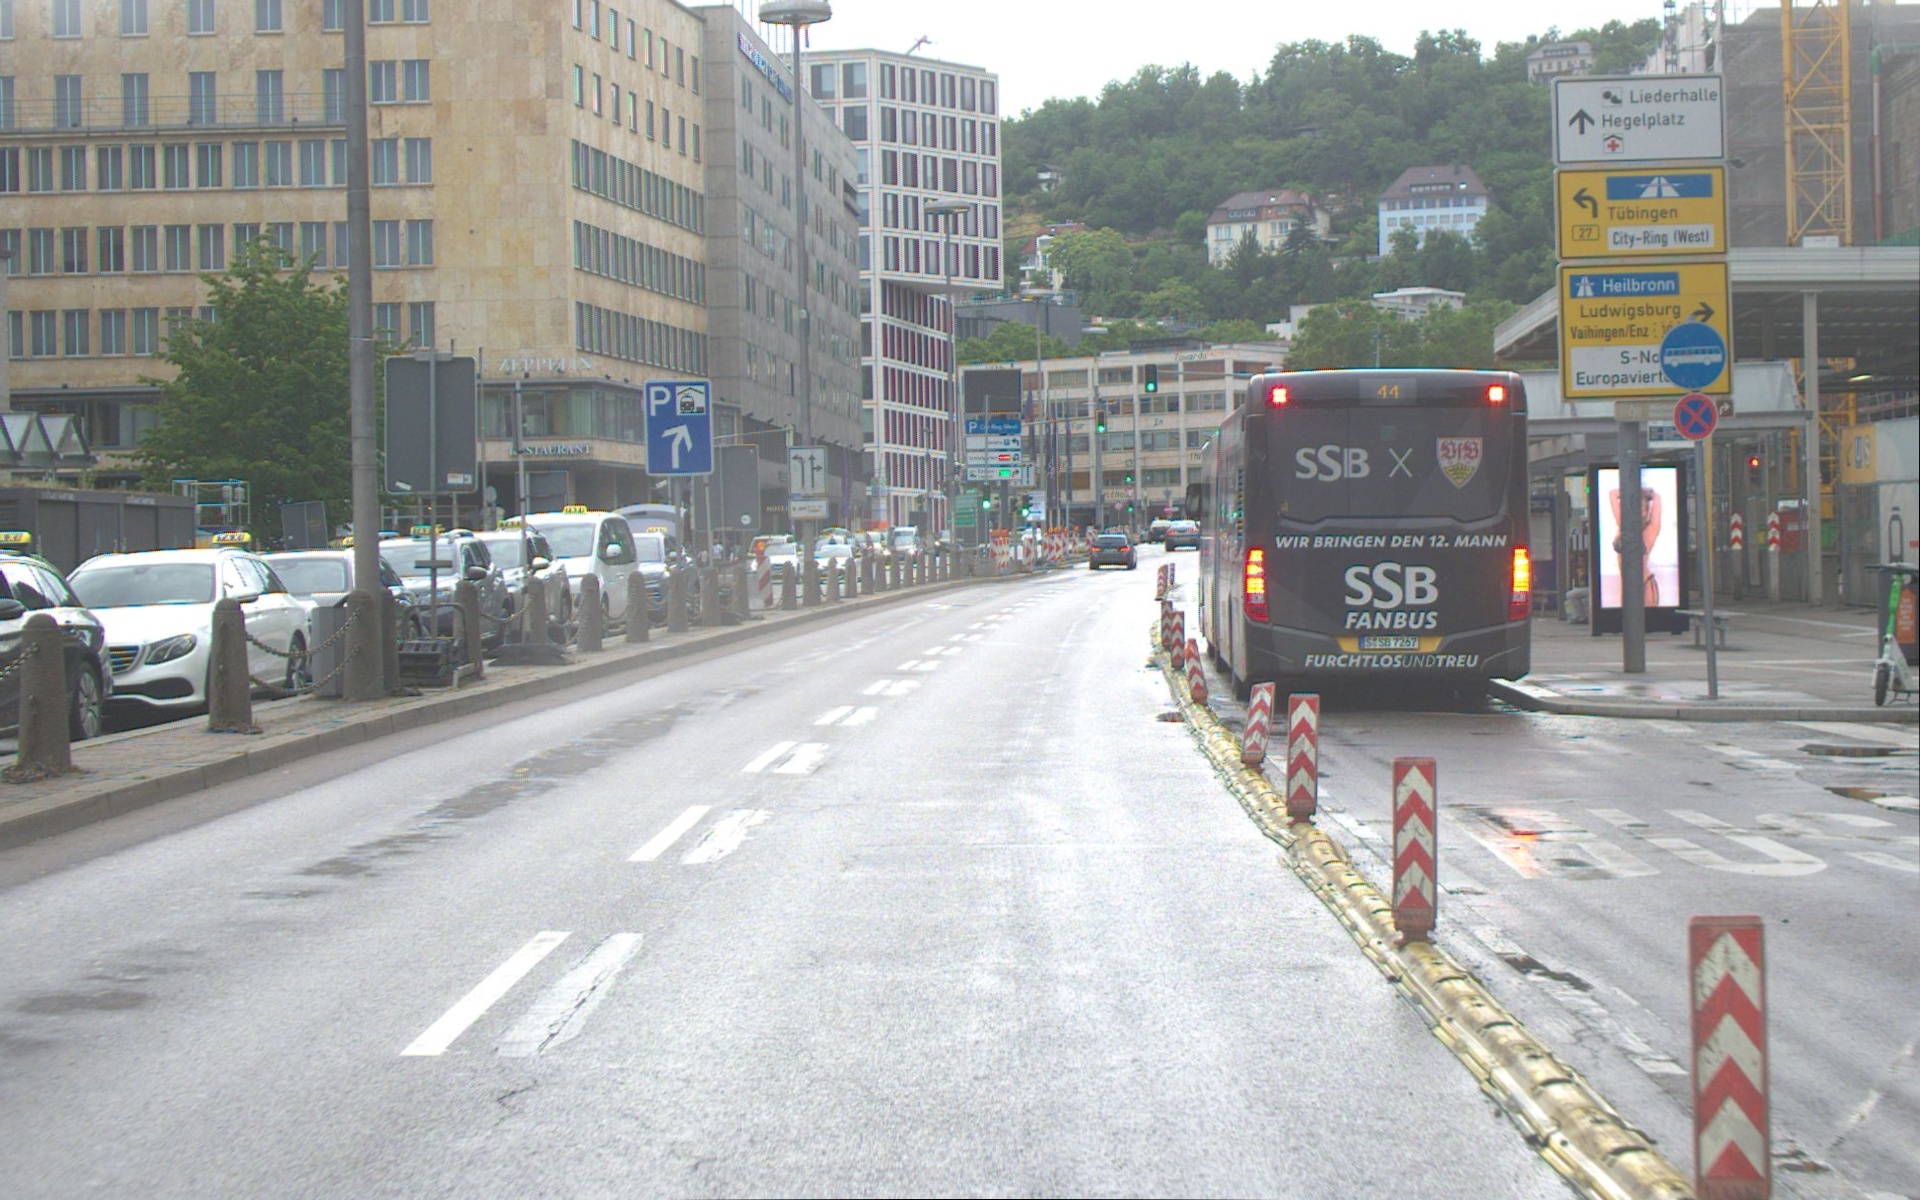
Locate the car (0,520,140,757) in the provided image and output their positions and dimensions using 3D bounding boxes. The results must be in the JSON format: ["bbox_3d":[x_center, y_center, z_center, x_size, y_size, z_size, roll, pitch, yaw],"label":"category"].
[{"bbox_3d":[-7.336,0.282,23.833,1.930,1.571,5.012,-2,1,1],"label":"car"}]

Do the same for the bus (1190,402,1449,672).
[{"bbox_3d":[4.385,-0.785,43.570,2.755,3.055,8.992,0,1,3],"label":"bus"}]

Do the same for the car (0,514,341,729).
[{"bbox_3d":[-6.973,0.142,30.120,1.976,1.653,5.193,-2,1,1],"label":"car"}]

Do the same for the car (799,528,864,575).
[{"bbox_3d":[-4.756,-1.808,127.700,1.962,1.559,4.835,-3,2,3],"label":"car"}]

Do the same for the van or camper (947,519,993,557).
[{"bbox_3d":[0.545,-3.385,188.538,1.994,2.007,5.188,-1,1,6],"label":"van or camper"}]

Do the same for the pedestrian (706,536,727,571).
[{"bbox_3d":[-11.080,-2.122,156.400,0.721,1.552,0.894,-1,1,7],"label":"pedestrian"}]

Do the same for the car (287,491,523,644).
[{"bbox_3d":[-6.738,-0.411,42.222,1.930,1.693,4.885,-2,1,1],"label":"car"}]

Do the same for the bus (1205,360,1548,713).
[{"bbox_3d":[3.955,-0.625,34.524,2.755,3.058,9.079,0,1,3],"label":"bus"}]

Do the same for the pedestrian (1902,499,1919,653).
[{"bbox_3d":[10.620,-0.265,36.697,0.908,1.629,0.827,0,1,30],"label":"pedestrian"}]

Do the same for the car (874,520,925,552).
[{"bbox_3d":[-3.140,-3.347,179.188,1.994,1.611,4.977,-1,1,6],"label":"car"}]

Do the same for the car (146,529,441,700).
[{"bbox_3d":[-6.854,0.103,35.909,1.930,1.571,5.052,-2,1,1],"label":"car"}]

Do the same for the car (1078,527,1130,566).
[{"bbox_3d":[5.947,-2.198,141.503,1.994,1.546,4.000,-1,1,4],"label":"car"}]

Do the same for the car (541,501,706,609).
[{"bbox_3d":[-5.660,-0.789,58.404,1.994,1.716,4.781,-1,1,4],"label":"car"}]

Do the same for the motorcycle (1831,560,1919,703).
[{"bbox_3d":[7.948,0.249,28.803,0.586,1.162,1.613,1,1,42],"label":"motorcycle"}]

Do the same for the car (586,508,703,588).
[{"bbox_3d":[-6.470,-1.076,70.832,1.993,1.546,4.000,-1,1,0],"label":"car"}]

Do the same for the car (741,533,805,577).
[{"bbox_3d":[-7.346,-1.800,135.457,1.962,1.559,4.835,-3,2,3],"label":"car"}]

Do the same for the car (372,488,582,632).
[{"bbox_3d":[-6.583,-0.564,47.305,1.930,1.800,4.582,-2,1,3],"label":"car"}]

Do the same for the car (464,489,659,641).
[{"bbox_3d":[-6.049,-0.570,52.867,1.994,2.171,5.544,-1,1,3],"label":"car"}]
